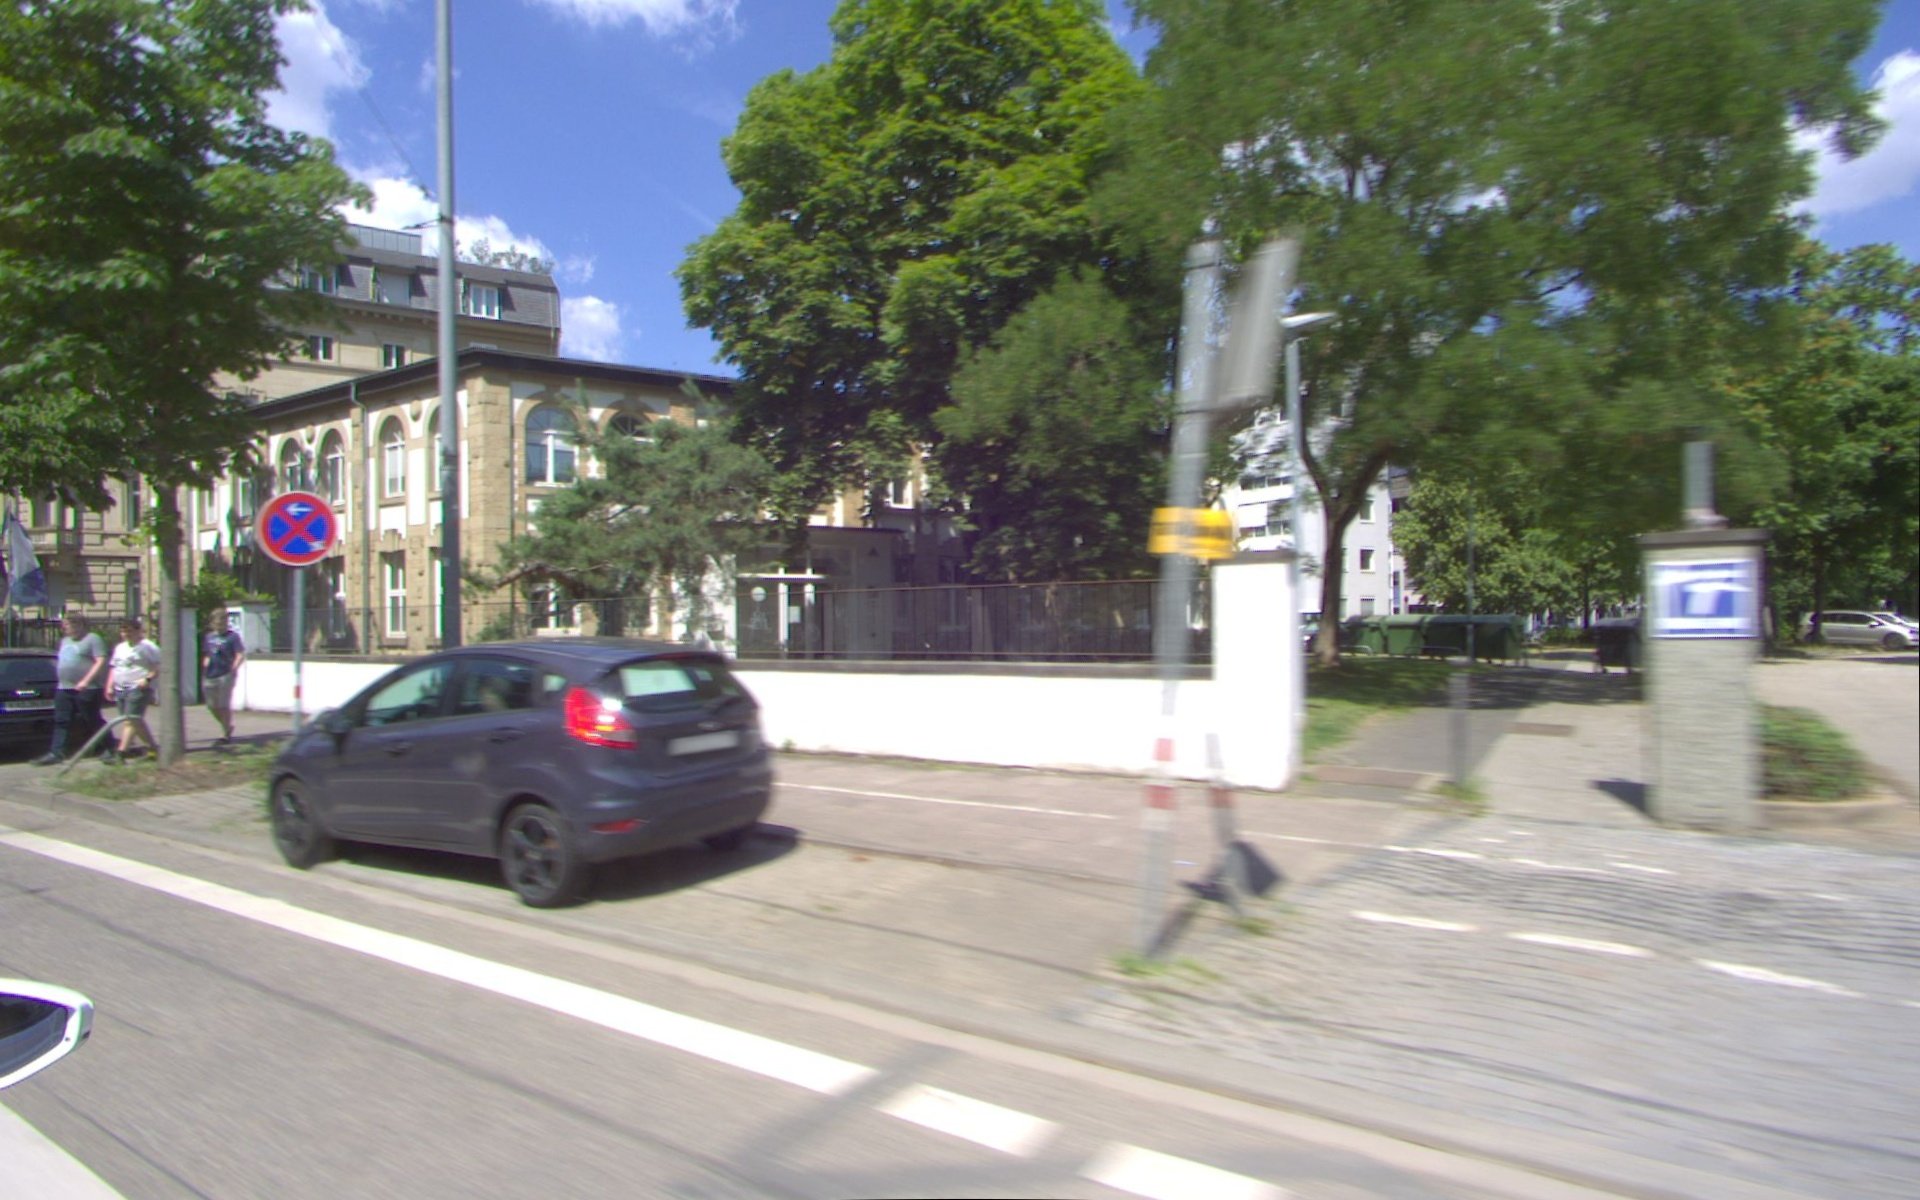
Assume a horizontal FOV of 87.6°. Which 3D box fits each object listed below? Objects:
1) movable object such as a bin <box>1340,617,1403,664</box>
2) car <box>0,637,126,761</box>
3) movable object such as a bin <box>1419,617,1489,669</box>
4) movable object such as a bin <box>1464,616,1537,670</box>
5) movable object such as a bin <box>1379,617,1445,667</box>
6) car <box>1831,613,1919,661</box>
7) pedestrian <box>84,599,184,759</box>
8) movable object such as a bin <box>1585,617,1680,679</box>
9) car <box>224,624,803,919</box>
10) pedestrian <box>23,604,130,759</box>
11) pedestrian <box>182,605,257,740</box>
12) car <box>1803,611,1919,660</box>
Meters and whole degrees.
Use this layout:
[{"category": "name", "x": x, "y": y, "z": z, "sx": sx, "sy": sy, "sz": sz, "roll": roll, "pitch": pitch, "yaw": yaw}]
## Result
[{"category": "movable object such as a bin", "x": 13.210, "y": 1.284, "z": 32.161, "sx": 1.392, "sy": 1.482, "sz": 1.379, "roll": 0, "pitch": -1, "yaw": -38}, {"category": "car", "x": -13.376, "y": 1.281, "z": 13.626, "sx": 4.464, "sy": 1.473, "sz": 1.873, "roll": -2, "pitch": -1, "yaw": 33}, {"category": "movable object such as a bin", "x": 14.603, "y": 1.240, "z": 29.605, "sx": 1.391, "sy": 1.482, "sz": 1.379, "roll": 0, "pitch": -1, "yaw": -36}, {"category": "movable object such as a bin", "x": 15.309, "y": 1.202, "z": 28.371, "sx": 1.392, "sy": 1.482, "sz": 1.379, "roll": 0, "pitch": -1, "yaw": -38}, {"category": "movable object such as a bin", "x": 13.932, "y": 1.267, "z": 30.864, "sx": 1.392, "sy": 1.482, "sz": 1.379, "roll": 0, "pitch": -1, "yaw": -38}, {"category": "car", "x": 41.560, "y": 1.663, "z": 44.441, "sx": 1.972, "sy": 2.039, "sz": 3.980, "roll": 2, "pitch": -3, "yaw": -31}, {"category": "pedestrian", "x": -9.980, "y": 0.936, "z": 12.120, "sx": 0.712, "sy": 1.884, "sz": 0.576, "roll": -1, "pitch": 0, "yaw": -4}, {"category": "movable object such as a bin", "x": 16.730, "y": 1.169, "z": 24.937, "sx": 1.382, "sy": 1.482, "sz": 1.388, "roll": 0, "pitch": -1, "yaw": -9}, {"category": "car", "x": -3.098, "y": 0.949, "z": 6.812, "sx": 3.814, "sy": 1.504, "sz": 1.637, "roll": -2, "pitch": -1, "yaw": 29}, {"category": "pedestrian", "x": -10.983, "y": 0.994, "z": 12.466, "sx": 0.795, "sy": 1.884, "sz": 0.576, "roll": -1, "pitch": 0, "yaw": -4}, {"category": "pedestrian", "x": -9.884, "y": 0.952, "z": 13.385, "sx": 0.608, "sy": 1.760, "sz": 0.478, "roll": -1, "pitch": 0, "yaw": -4}, {"category": "car", "x": 39.461, "y": 1.567, "z": 43.478, "sx": 1.972, "sy": 2.039, "sz": 3.980, "roll": 2, "pitch": -3, "yaw": -31}]
